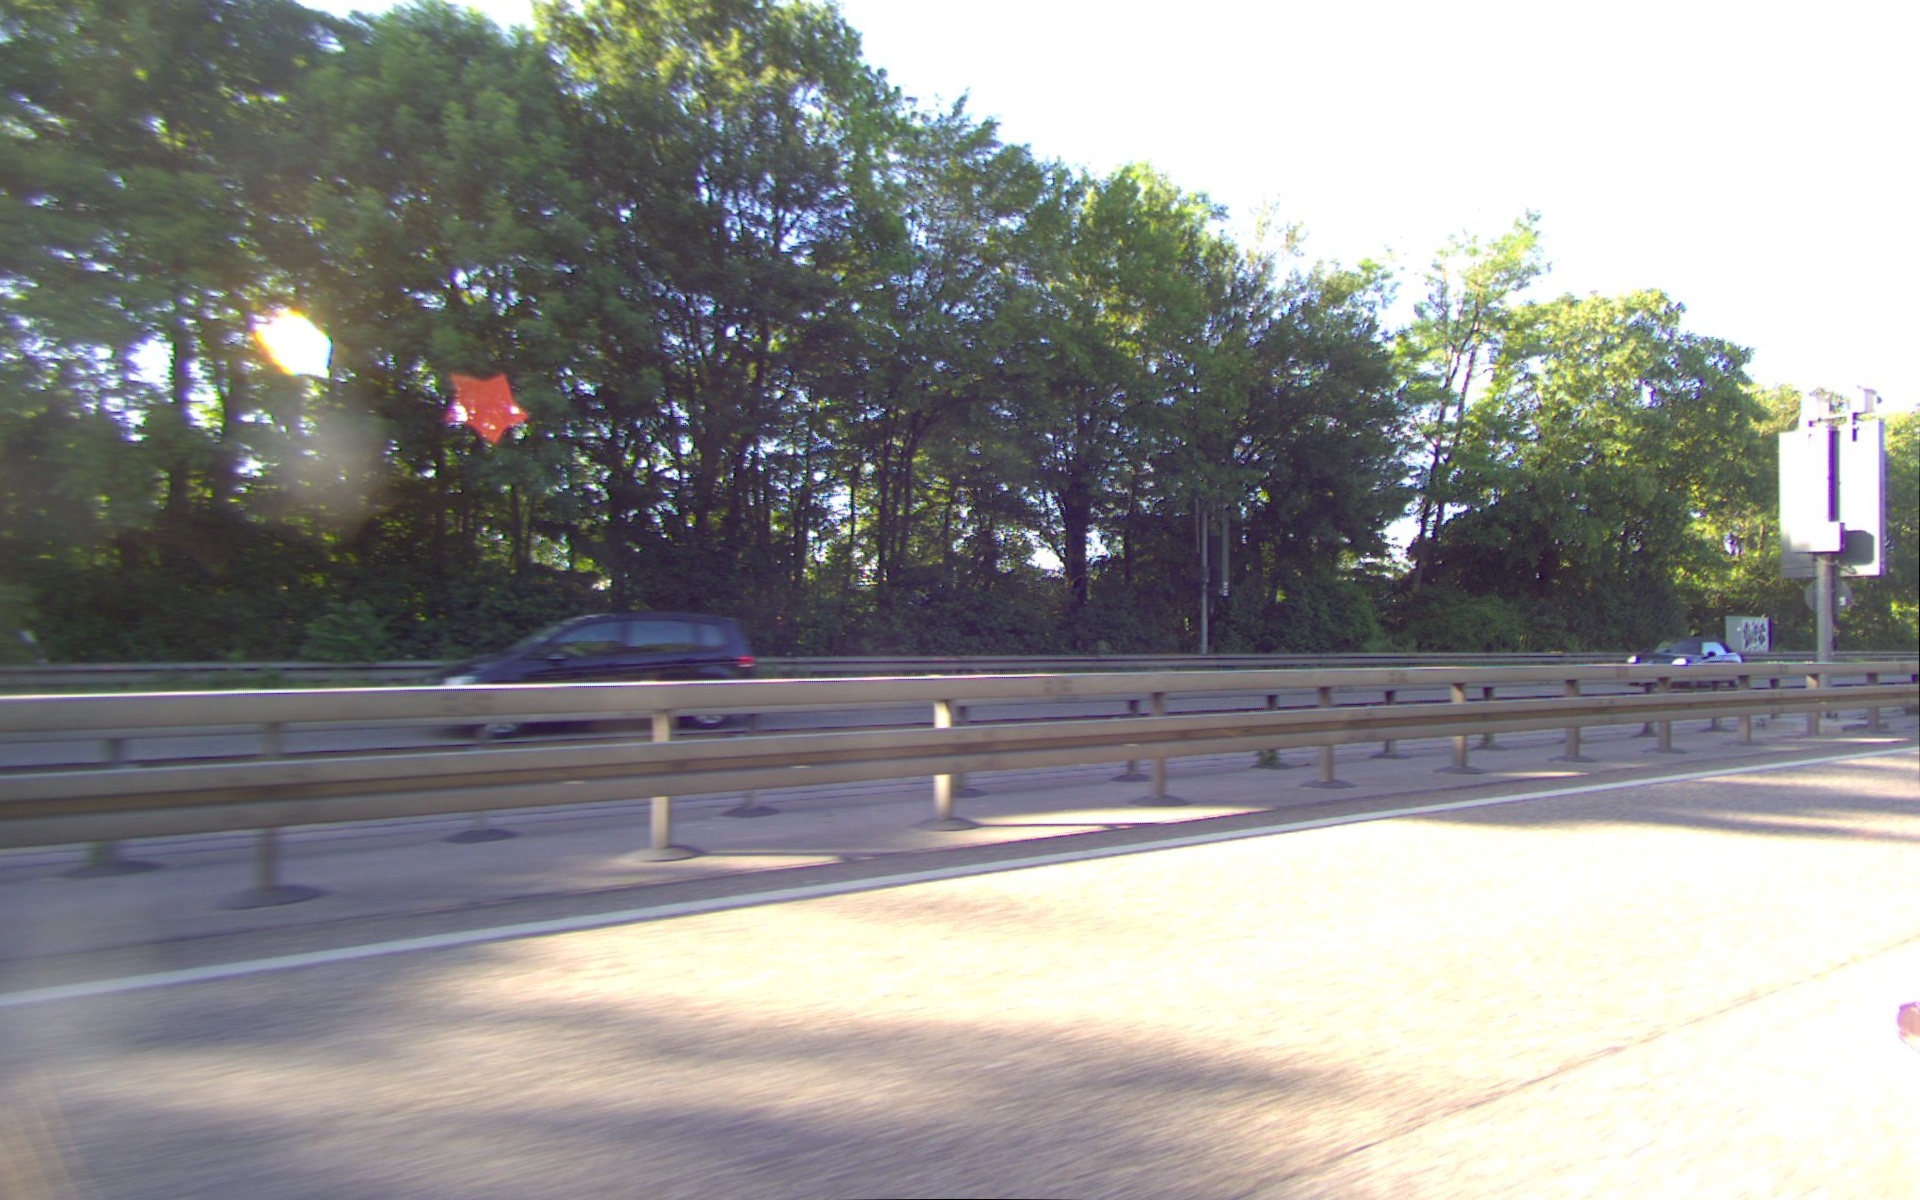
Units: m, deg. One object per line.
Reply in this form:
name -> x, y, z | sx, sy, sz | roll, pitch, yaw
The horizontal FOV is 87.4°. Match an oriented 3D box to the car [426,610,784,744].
car -> -4.978, 1.032, 14.324 | 4.619, 1.660, 1.591 | 1, -3, -29

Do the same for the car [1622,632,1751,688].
car -> 21.158, 1.710, 29.239 | 3.862, 1.500, 1.590 | 1, -1, -29
